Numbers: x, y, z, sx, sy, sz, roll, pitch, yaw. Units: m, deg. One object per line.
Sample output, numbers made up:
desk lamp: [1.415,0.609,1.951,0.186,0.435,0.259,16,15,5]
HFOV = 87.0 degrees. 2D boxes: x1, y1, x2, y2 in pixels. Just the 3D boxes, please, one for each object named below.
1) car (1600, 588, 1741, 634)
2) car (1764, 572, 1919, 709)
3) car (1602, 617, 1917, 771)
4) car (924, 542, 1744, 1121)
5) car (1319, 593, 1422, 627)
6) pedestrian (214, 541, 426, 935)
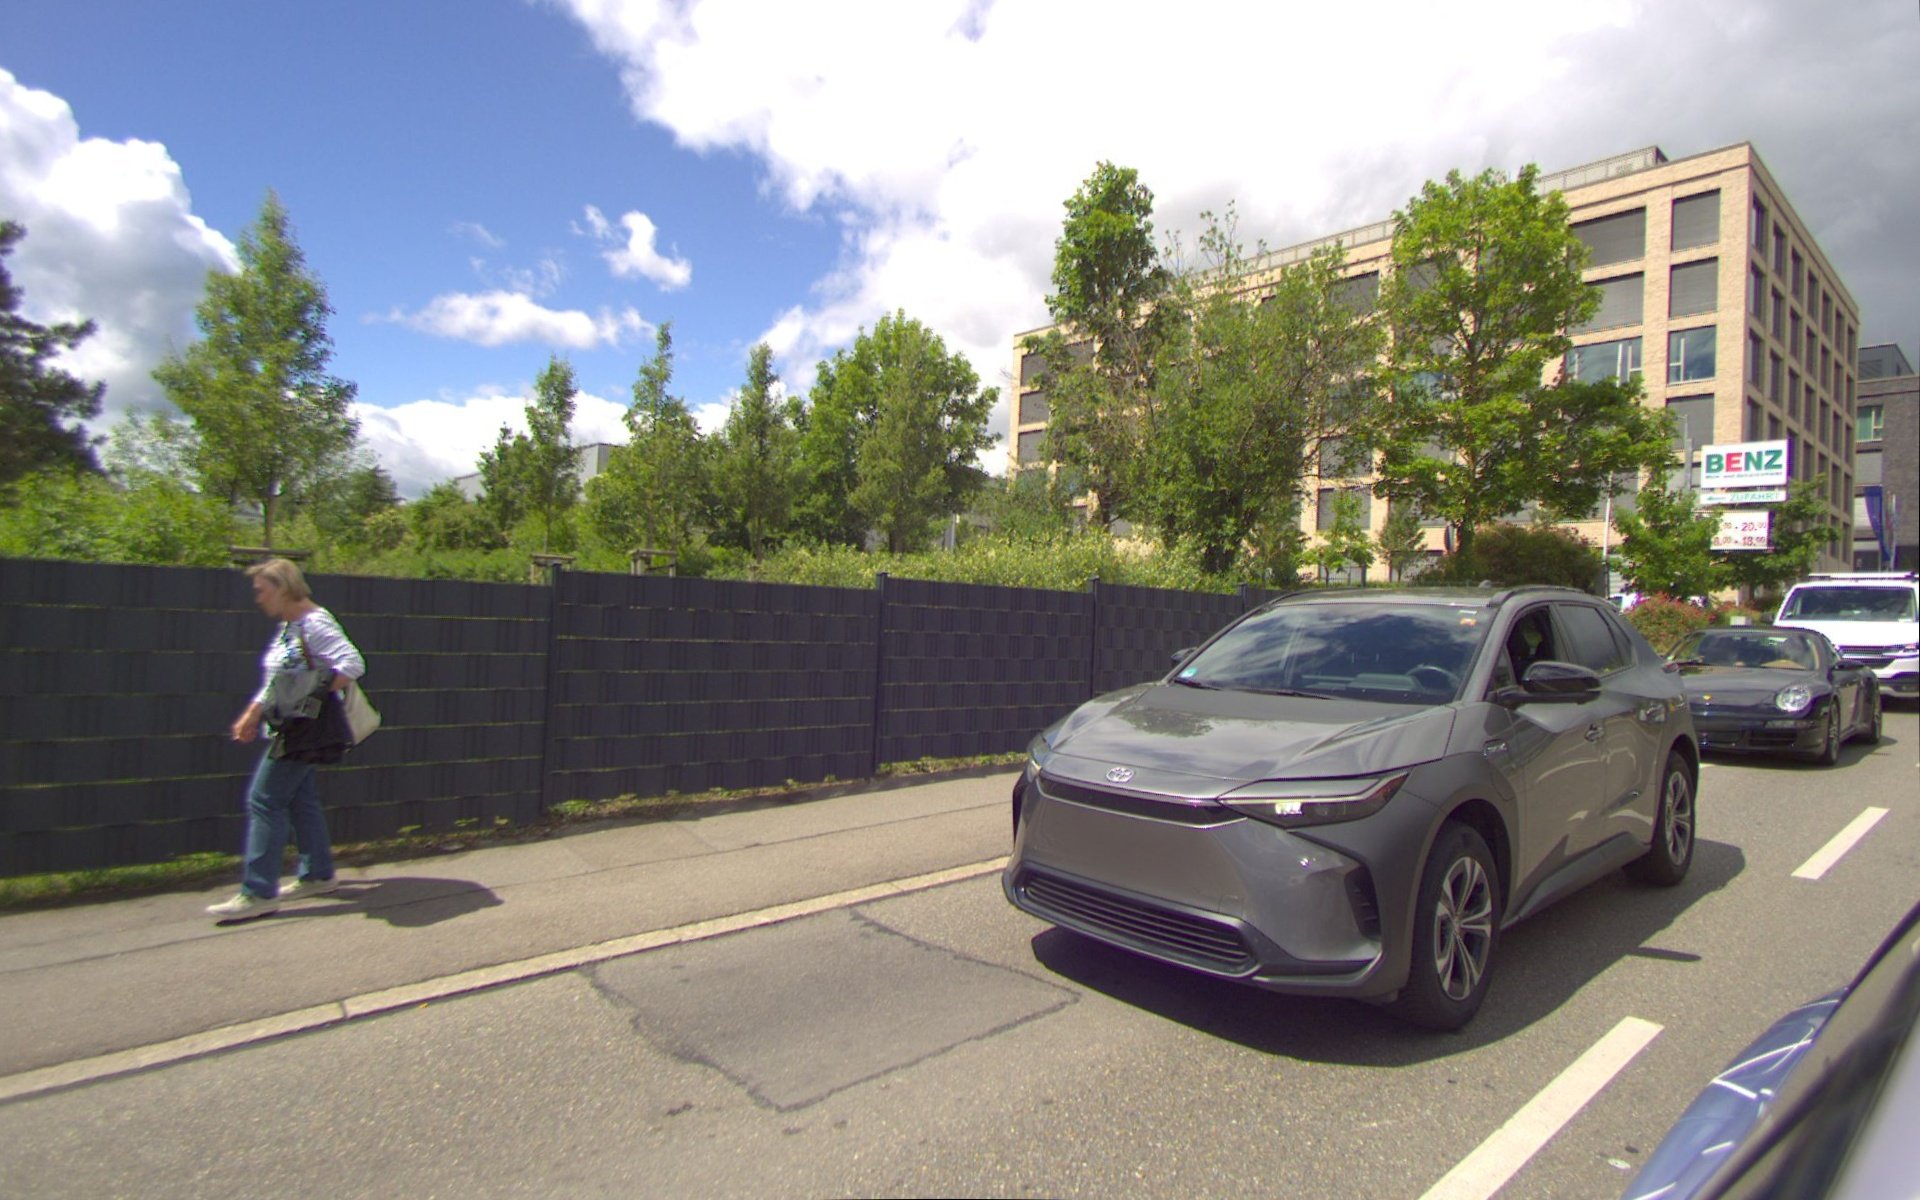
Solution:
car: [27.507,0.393,39.277,1.707,1.596,4.211,1,1,-44]
car: [14.385,0.575,15.888,4.563,1.874,1.962,1,-1,-41]
car: [8.691,0.846,10.853,4.487,1.290,1.776,1,-1,-40]
car: [2.198,0.672,5.115,4.601,1.634,1.922,1,-1,-41]
car: [19.358,0.446,47.835,1.705,1.436,4.215,1,1,-41]
pedestrian: [-2.923,0.536,4.605,0.700,1.581,0.861,0,2,-41]
